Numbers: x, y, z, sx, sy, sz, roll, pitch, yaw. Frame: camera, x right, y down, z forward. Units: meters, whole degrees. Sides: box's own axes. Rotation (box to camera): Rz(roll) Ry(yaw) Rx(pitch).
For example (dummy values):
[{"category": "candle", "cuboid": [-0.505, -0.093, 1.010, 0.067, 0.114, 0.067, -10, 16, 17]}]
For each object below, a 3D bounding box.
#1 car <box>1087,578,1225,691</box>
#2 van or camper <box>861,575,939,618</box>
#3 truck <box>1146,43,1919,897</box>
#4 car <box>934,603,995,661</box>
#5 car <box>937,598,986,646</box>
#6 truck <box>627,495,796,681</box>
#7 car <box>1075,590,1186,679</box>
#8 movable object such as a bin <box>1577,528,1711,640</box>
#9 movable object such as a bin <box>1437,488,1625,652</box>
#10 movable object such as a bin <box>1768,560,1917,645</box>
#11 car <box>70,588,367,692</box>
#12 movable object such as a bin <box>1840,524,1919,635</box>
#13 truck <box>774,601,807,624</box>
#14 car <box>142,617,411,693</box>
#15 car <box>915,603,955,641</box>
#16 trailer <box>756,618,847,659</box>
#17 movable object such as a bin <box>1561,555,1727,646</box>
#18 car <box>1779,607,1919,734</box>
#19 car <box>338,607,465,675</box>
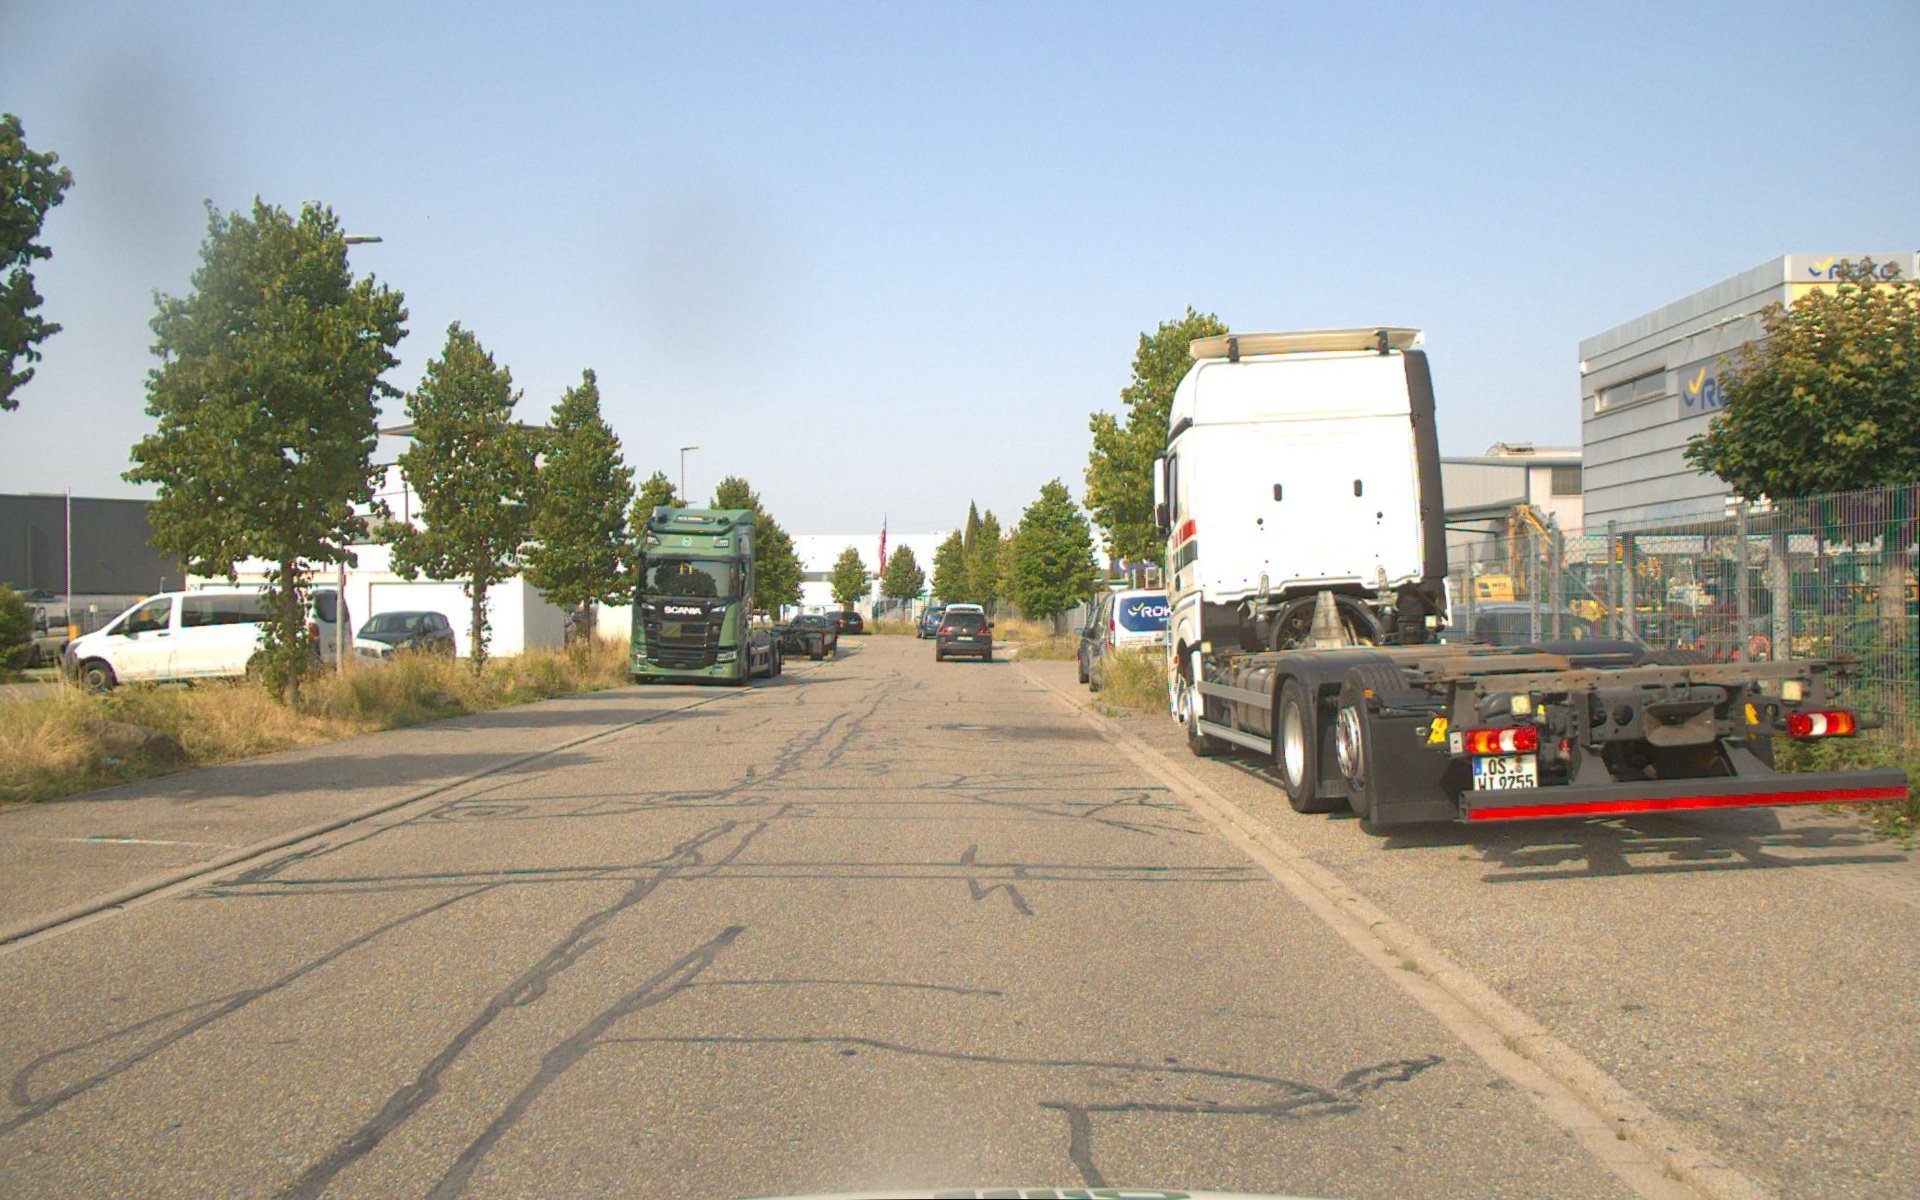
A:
[{"category": "car", "cuboid": [3.339, 0.596, 29.024, 1.952, 1.821, 4.600, 0, -1, 1]}, {"category": "van or camper", "cuboid": [-4.309, -0.187, 116.793, 2.325, 2.898, 7.264, 0, -1, -31]}, {"category": "truck", "cuboid": [3.490, -0.647, 12.964, 2.690, 4.085, 9.684, -2, 0, -1]}, {"category": "car", "cuboid": [0.138, 1.045, 55.916, 1.953, 1.836, 4.000, 1, 0, 0]}, {"category": "car", "cuboid": [0.022, 0.920, 70.547, 1.953, 1.933, 4.466, 0, 0, -2]}, {"category": "truck", "cuboid": [-5.819, -0.168, 40.452, 2.405, 3.950, 9.803, 1, -1, 1]}, {"category": "car", "cuboid": [3.474, 0.715, 34.453, 1.789, 1.750, 4.247, 0, -1, -1]}, {"category": "movable object such as a bin", "cuboid": [25.508, -0.559, 61.924, 2.629, 3.941, 5.718, -1, 0, 0]}, {"category": "movable object such as a bin", "cuboid": [18.339, -0.923, 53.751, 3.249, 4.890, 7.670, -1, 0, -2]}, {"category": "movable object such as a bin", "cuboid": [30.831, 0.071, 58.011, 2.012, 2.817, 5.688, -1, 0, -2]}, {"category": "car", "cuboid": [-13.865, 0.726, 31.132, 4.607, 1.868, 2.103, 0, 0, 0]}, {"category": "movable object such as a bin", "cuboid": [35.783, -0.750, 60.956, 2.417, 3.998, 7.197, -1, -1, -3]}, {"category": "truck", "cuboid": [-17.001, 1.224, 166.546, 2.400, 2.305, 8.002, 0, 0, 0]}, {"category": "car", "cuboid": [-13.828, 1.099, 33.620, 4.628, 1.456, 2.001, 0, 0, 2]}, {"category": "car", "cuboid": [-1.280, 1.107, 85.217, 1.953, 1.836, 4.000, 1, 0, 0]}, {"category": "trailer", "cuboid": [-5.592, 1.339, 59.326, 2.085, 1.254, 7.161, 1, 0, 4]}, {"category": "movable object such as a bin", "cuboid": [22.386, -0.002, 54.486, 2.646, 2.763, 6.347, -1, 0, -2]}, {"category": "car", "cuboid": [11.938, 0.809, 20.300, 1.846, 1.457, 4.000, 0, 0, 1]}, {"category": "car", "cuboid": [-15.079, 1.055, 44.921, 1.953, 1.716, 4.697, -1, 0, -2]}]
